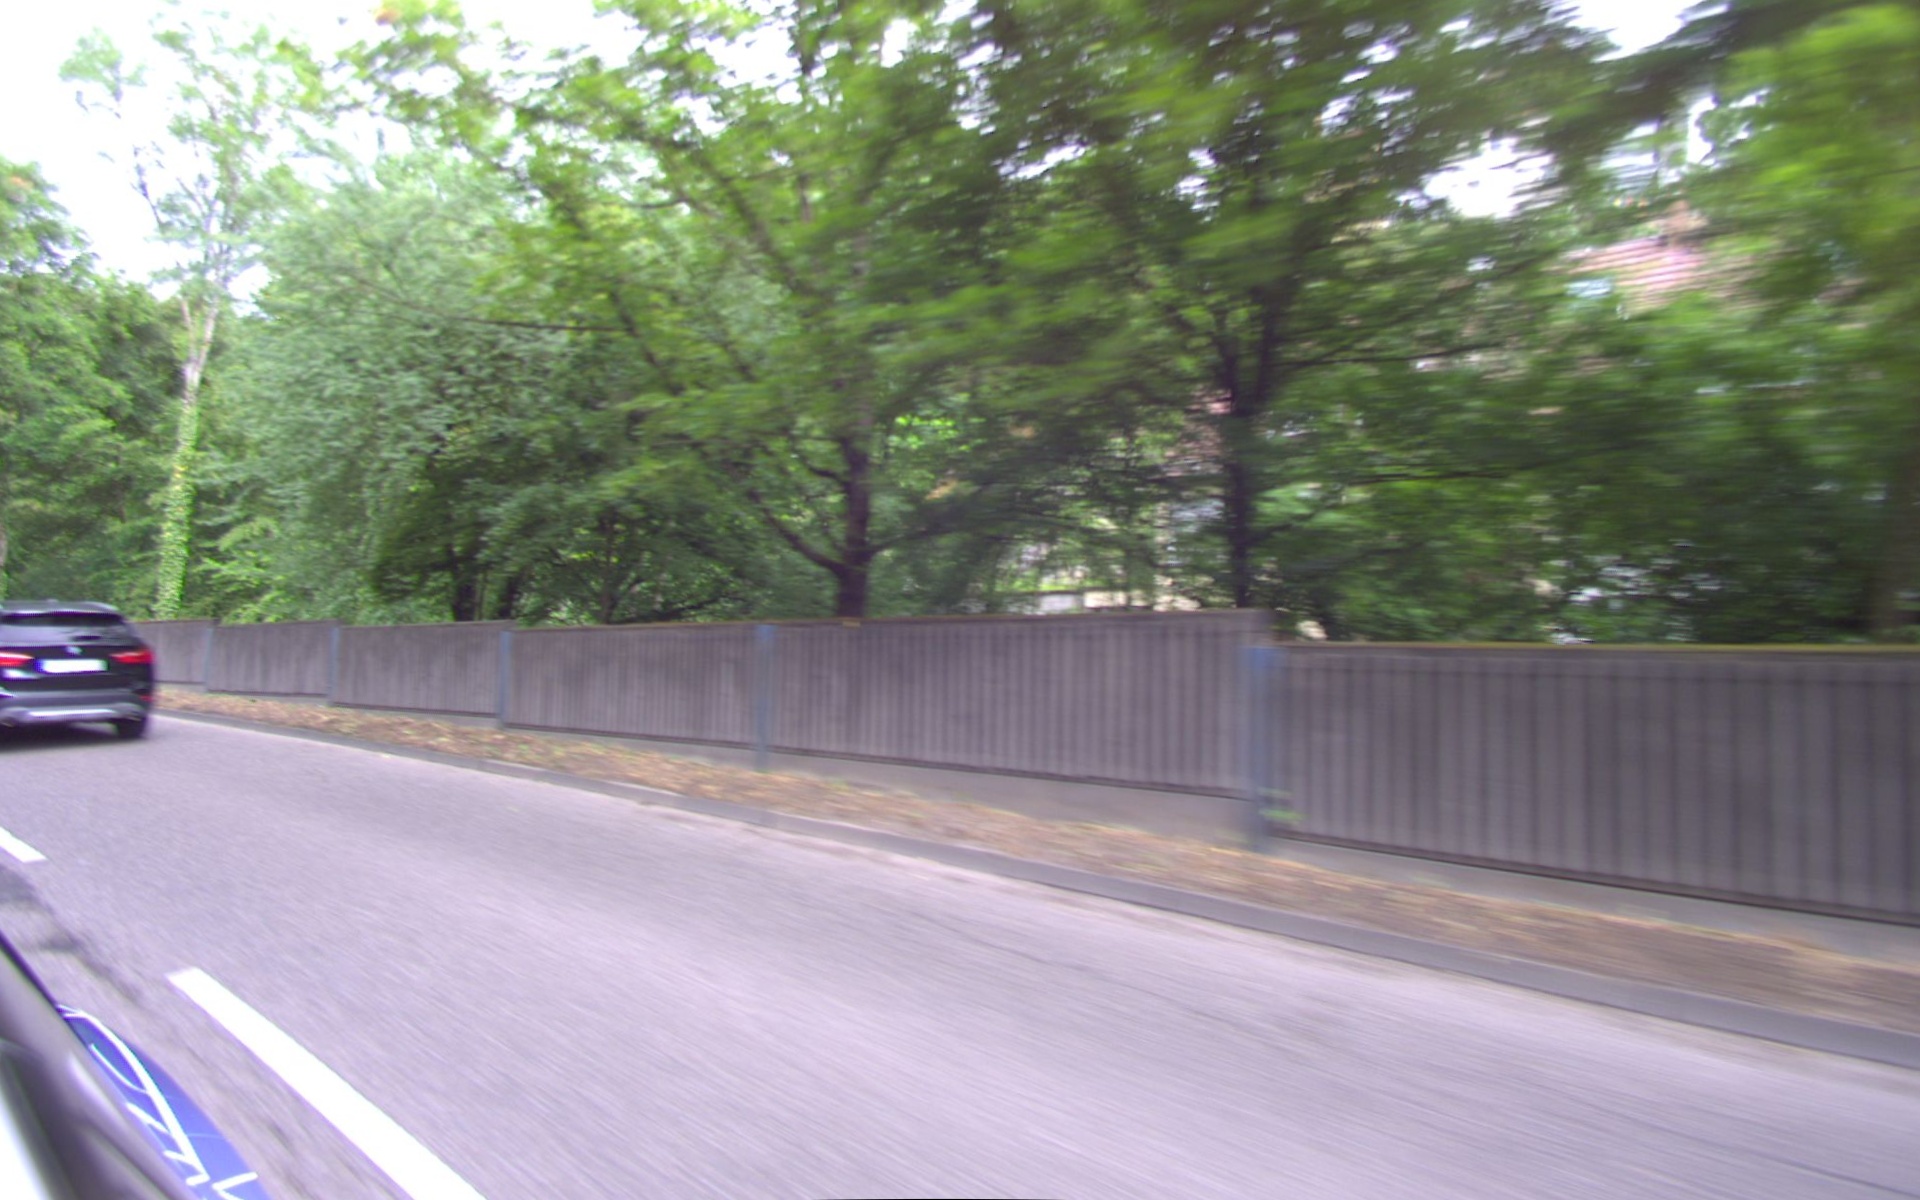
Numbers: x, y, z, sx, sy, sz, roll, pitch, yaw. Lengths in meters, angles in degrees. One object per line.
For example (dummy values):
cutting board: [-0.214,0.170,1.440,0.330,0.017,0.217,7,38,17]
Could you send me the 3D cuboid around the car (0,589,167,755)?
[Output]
car: [-10.932,0.737,11.683,4.046,1.652,1.710,0,-1,35]
